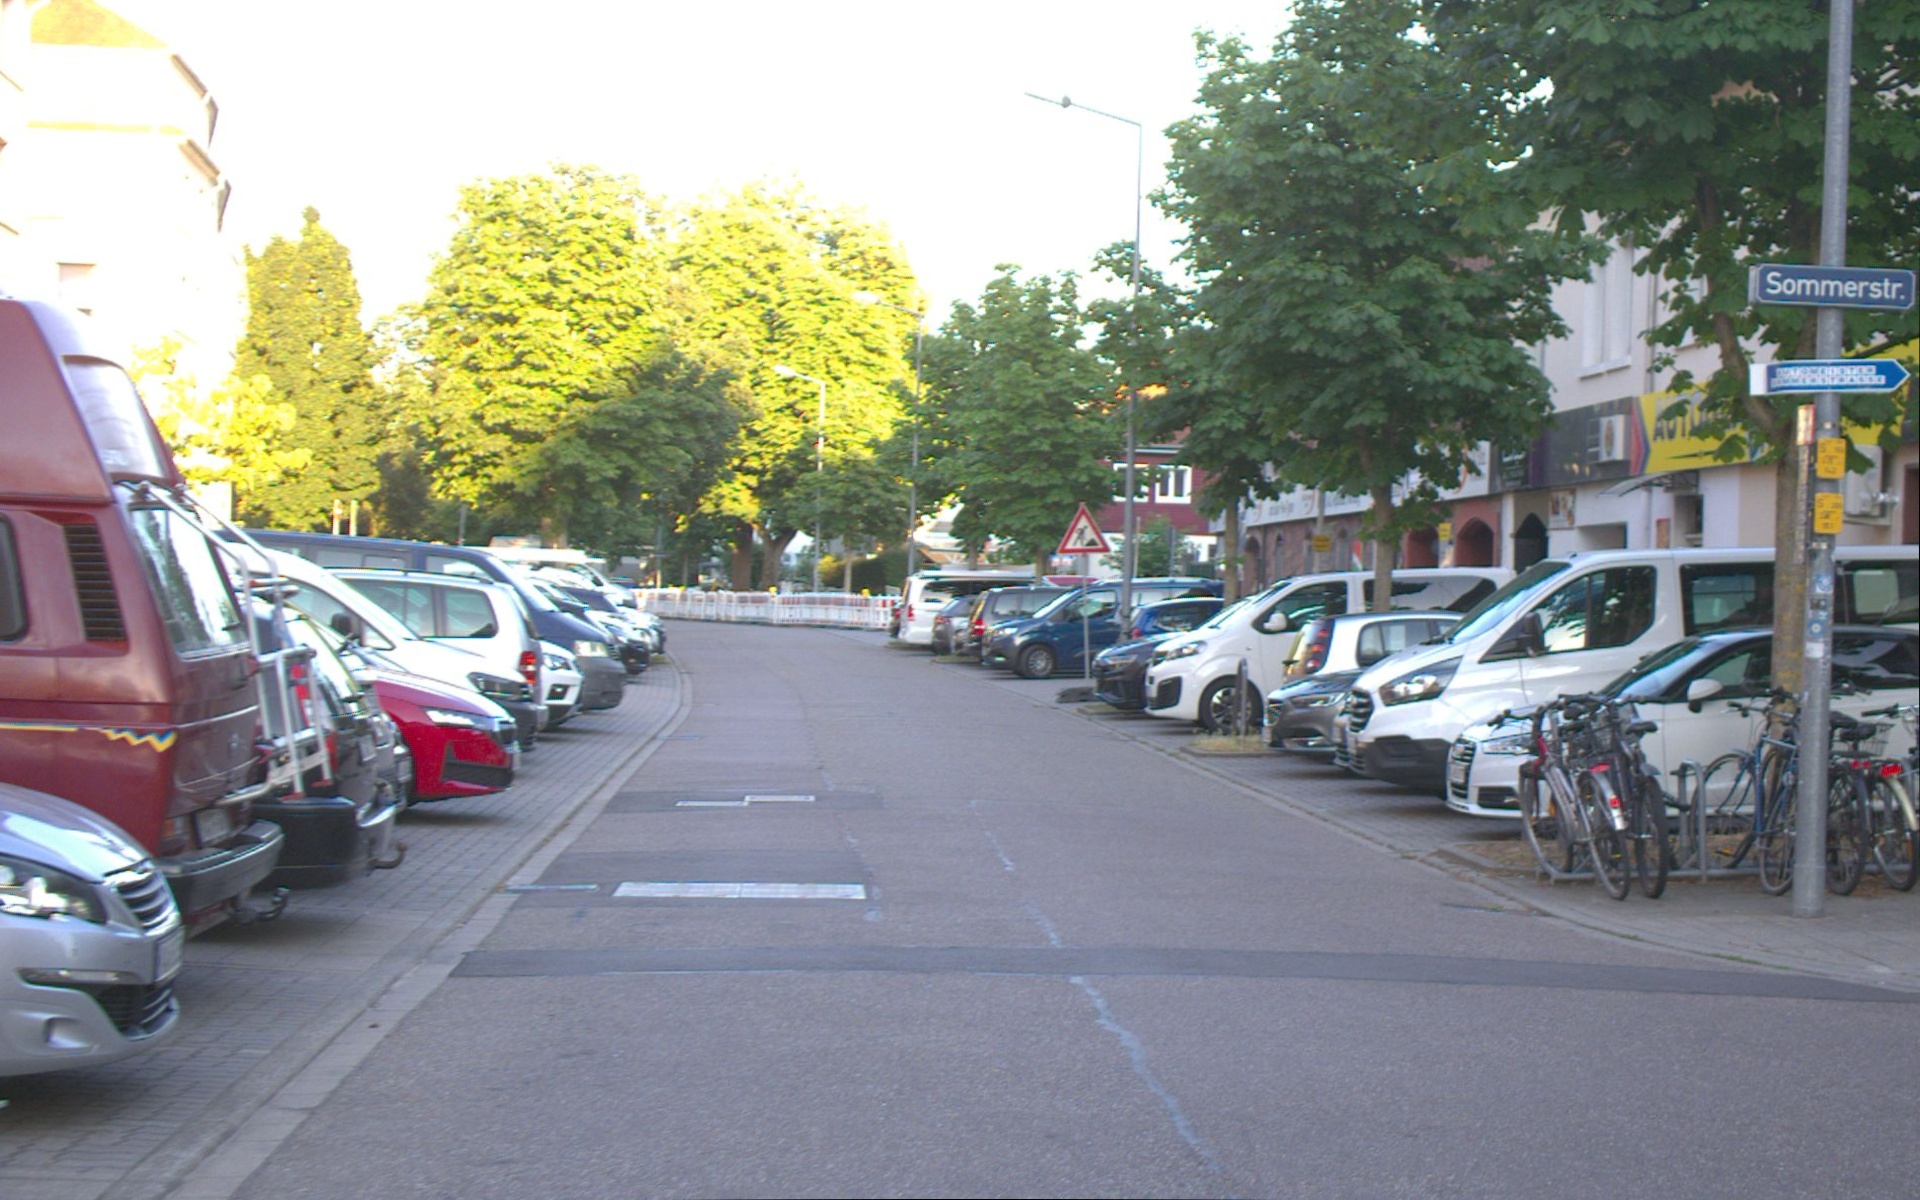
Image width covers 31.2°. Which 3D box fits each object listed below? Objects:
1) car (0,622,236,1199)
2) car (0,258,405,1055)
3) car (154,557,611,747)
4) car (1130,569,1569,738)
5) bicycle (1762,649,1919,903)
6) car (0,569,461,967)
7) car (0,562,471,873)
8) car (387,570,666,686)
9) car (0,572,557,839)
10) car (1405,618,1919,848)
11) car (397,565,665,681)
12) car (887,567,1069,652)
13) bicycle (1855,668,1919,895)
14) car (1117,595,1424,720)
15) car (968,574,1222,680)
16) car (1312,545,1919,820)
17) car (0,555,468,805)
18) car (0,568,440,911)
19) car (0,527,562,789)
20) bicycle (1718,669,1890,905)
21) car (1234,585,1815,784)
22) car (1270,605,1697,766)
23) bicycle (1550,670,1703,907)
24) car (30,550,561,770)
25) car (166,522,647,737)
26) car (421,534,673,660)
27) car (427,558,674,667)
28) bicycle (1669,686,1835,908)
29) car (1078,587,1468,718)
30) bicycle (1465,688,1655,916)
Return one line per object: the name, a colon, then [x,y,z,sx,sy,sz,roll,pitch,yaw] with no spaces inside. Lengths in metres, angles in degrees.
car: [-4.524,0.720,9.671,4.615,1.455,1.881,3,0,-5]
car: [-4.464,0.091,12.313,4.511,2.575,2.000,3,0,0]
car: [-5.762,0.510,34.715,4.256,1.646,1.888,3,0,-2]
car: [4.619,0.617,41.282,4.943,1.951,2.049,0,0,-3]
bicycle: [4.948,0.947,19.203,0.386,1.300,2.017,0,0,-2]
car: [-4.391,0.627,14.888,4.208,1.533,1.791,3,0,-4]
car: [-5.038,0.597,19.706,4.208,1.570,2.000,3,0,-4]
car: [-6.961,0.446,55.601,4.256,1.616,2.000,3,0,-3]
car: [-4.868,0.645,22.486,4.209,1.485,1.850,3,0,-1]
car: [5.143,0.869,23.338,3.918,1.446,1.768,0,0,-4]
car: [-7.235,0.379,58.268,4.256,1.709,2.000,3,0,-2]
car: [0.387,0.217,79.201,3.967,1.905,2.050,0,0,-7]
bicycle: [5.373,0.998,19.057,0.386,1.196,1.481,0,0,-2]
car: [4.587,0.836,51.135,4.316,1.798,1.811,0,0,-3]
car: [2.484,0.481,63.682,4.478,1.905,1.688,0,0,-7]
car: [5.312,0.589,26.130,4.989,1.976,2.220,0,0,-1]
car: [-5.877,0.545,25.442,4.208,1.610,2.000,3,0,-4]
car: [-4.954,0.606,17.440,4.210,1.533,1.841,3,0,4]
car: [-5.487,0.450,27.892,4.256,1.830,2.000,3,0,-2]
bicycle: [4.685,1.009,19.186,0.386,1.196,2.017,0,0,-2]
car: [5.087,0.744,31.471,4.944,1.736,2.049,0,0,-1]
car: [5.136,0.821,34.107,3.911,1.521,1.939,0,0,-1]
bicycle: [3.690,1.017,19.141,0.386,1.196,2.017,0,0,-2]
car: [-5.769,0.508,30.290,4.256,1.655,2.000,3,0,-2]
car: [-5.929,0.310,37.267,4.850,2.014,1.906,3,0,-2]
car: [-7.862,-0.058,65.729,4.533,2.127,2.000,3,0,-2]
car: [-7.473,0.227,63.077,4.256,1.743,2.000,3,0,-2]
bicycle: [4.399,1.065,19.192,0.386,1.110,2.017,0,0,-2]
car: [4.156,0.685,46.215,4.943,1.683,2.077,0,0,-3]
bicycle: [3.279,1.078,18.943,0.438,1.126,2.018,0,0,-8]
